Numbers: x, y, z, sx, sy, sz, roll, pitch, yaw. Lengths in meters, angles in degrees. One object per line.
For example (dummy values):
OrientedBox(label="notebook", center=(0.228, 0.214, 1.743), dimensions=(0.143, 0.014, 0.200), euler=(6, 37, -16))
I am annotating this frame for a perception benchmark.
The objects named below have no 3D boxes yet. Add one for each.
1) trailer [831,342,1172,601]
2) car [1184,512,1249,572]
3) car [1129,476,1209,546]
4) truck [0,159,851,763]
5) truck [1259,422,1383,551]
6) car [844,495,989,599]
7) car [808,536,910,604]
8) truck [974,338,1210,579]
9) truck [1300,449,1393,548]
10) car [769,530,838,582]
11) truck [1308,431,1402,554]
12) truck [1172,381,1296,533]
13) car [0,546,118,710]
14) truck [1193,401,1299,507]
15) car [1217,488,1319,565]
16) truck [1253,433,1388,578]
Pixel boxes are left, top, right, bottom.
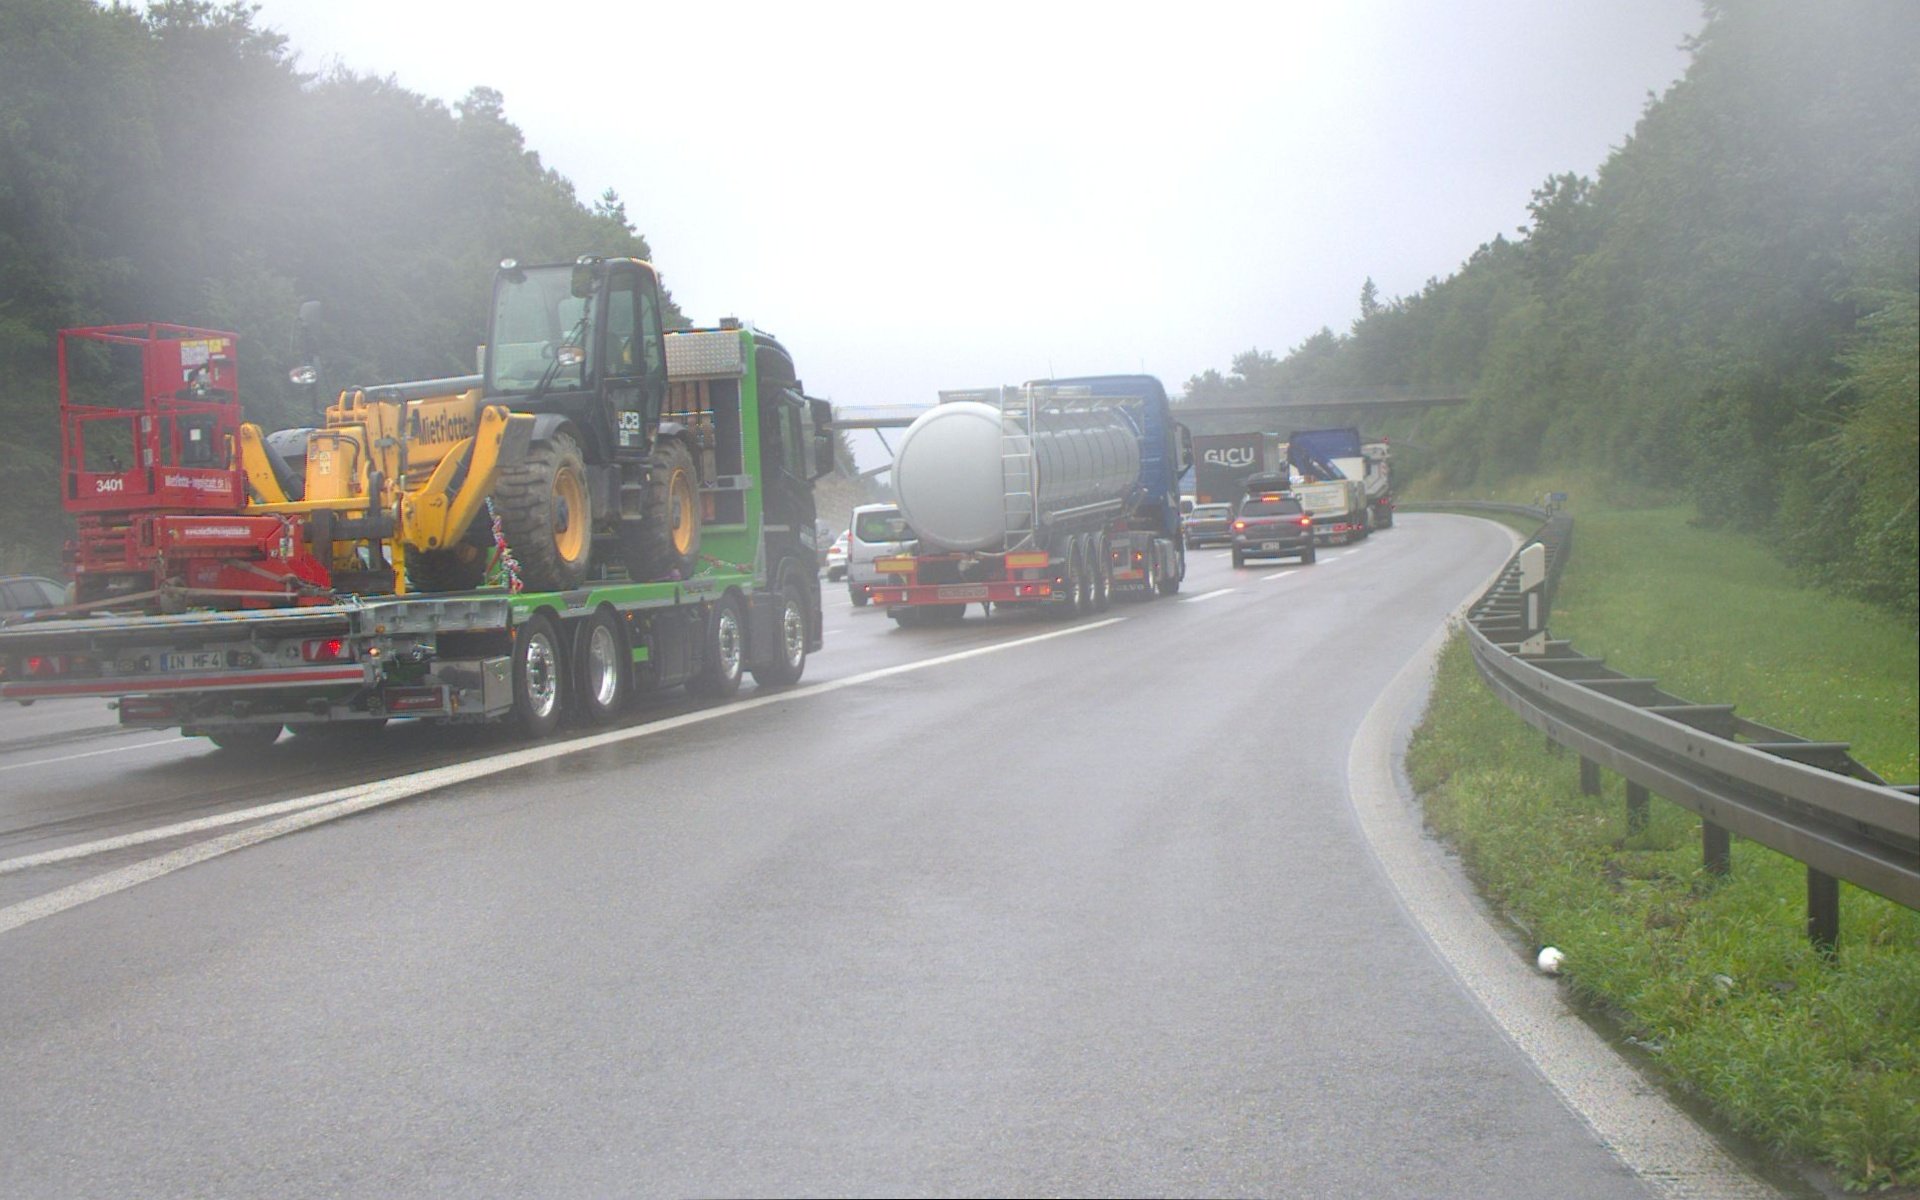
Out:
OrientedBox(label="trailer", center=(0.831, -1.871, 50.307), dimensions=(2.875, 3.277, 10.073), euler=(-2, 2, 12))
OrientedBox(label="car", center=(8.423, -1.889, 112.676), dimensions=(1.798, 1.897, 3.999), euler=(1, 0, 9))
OrientedBox(label="car", center=(9.484, -3.981, 155.754), dimensions=(3.096, 2.992, 6.771), euler=(1, 0, 8))
OrientedBox(label="truck", center=(-3.803, -0.991, 26.939), dimensions=(2.832, 3.576, 11.792), euler=(-3, 1, 13))
OrientedBox(label="truck", center=(12.993, -3.963, 122.912), dimensions=(3.509, 4.253, 10.598), euler=(1, 0, 11))
OrientedBox(label="car", center=(-0.737, -0.976, 61.588), dimensions=(1.820, 1.761, 3.999), euler=(-2, 1, 10))
OrientedBox(label="car", center=(-2.765, -0.835, 94.884), dimensions=(1.994, 1.766, 4.133), euler=(-2, 1, 10))
OrientedBox(label="truck", center=(2.255, -2.317, 56.861), dimensions=(2.878, 3.681, 5.054), euler=(-2, 2, 13))
OrientedBox(label="truck", center=(16.621, -4.286, 148.070), dimensions=(3.756, 3.957, 11.057), euler=(1, 0, 6))
OrientedBox(label="car", center=(-6.271, -1.793, 138.182), dimensions=(1.994, 2.007, 3.999), euler=(-2, 1, 9))
OrientedBox(label="truck", center=(19.492, -5.222, 169.150), dimensions=(4.337, 5.744, 9.728), euler=(1, 0, 8))
OrientedBox(label="truck", center=(10.643, -5.409, 132.524), dimensions=(3.756, 5.480, 10.168), euler=(1, 0, 10))
OrientedBox(label="car", center=(-12.368, 0.320, 43.337), dimensions=(1.799, 2.007, 3.998), euler=(1, 0, 13))
OrientedBox(label="truck", center=(12.570, -6.289, 150.312), dimensions=(3.578, 4.081, 10.875), euler=(-2, 0, 10))
OrientedBox(label="car", center=(7.006, -1.644, 77.933), dimensions=(1.994, 1.630, 3.998), euler=(1, 0, 9))
OrientedBox(label="truck", center=(11.291, -2.971, 106.738), dimensions=(3.601, 4.091, 11.557), euler=(-3, 2, 8))
